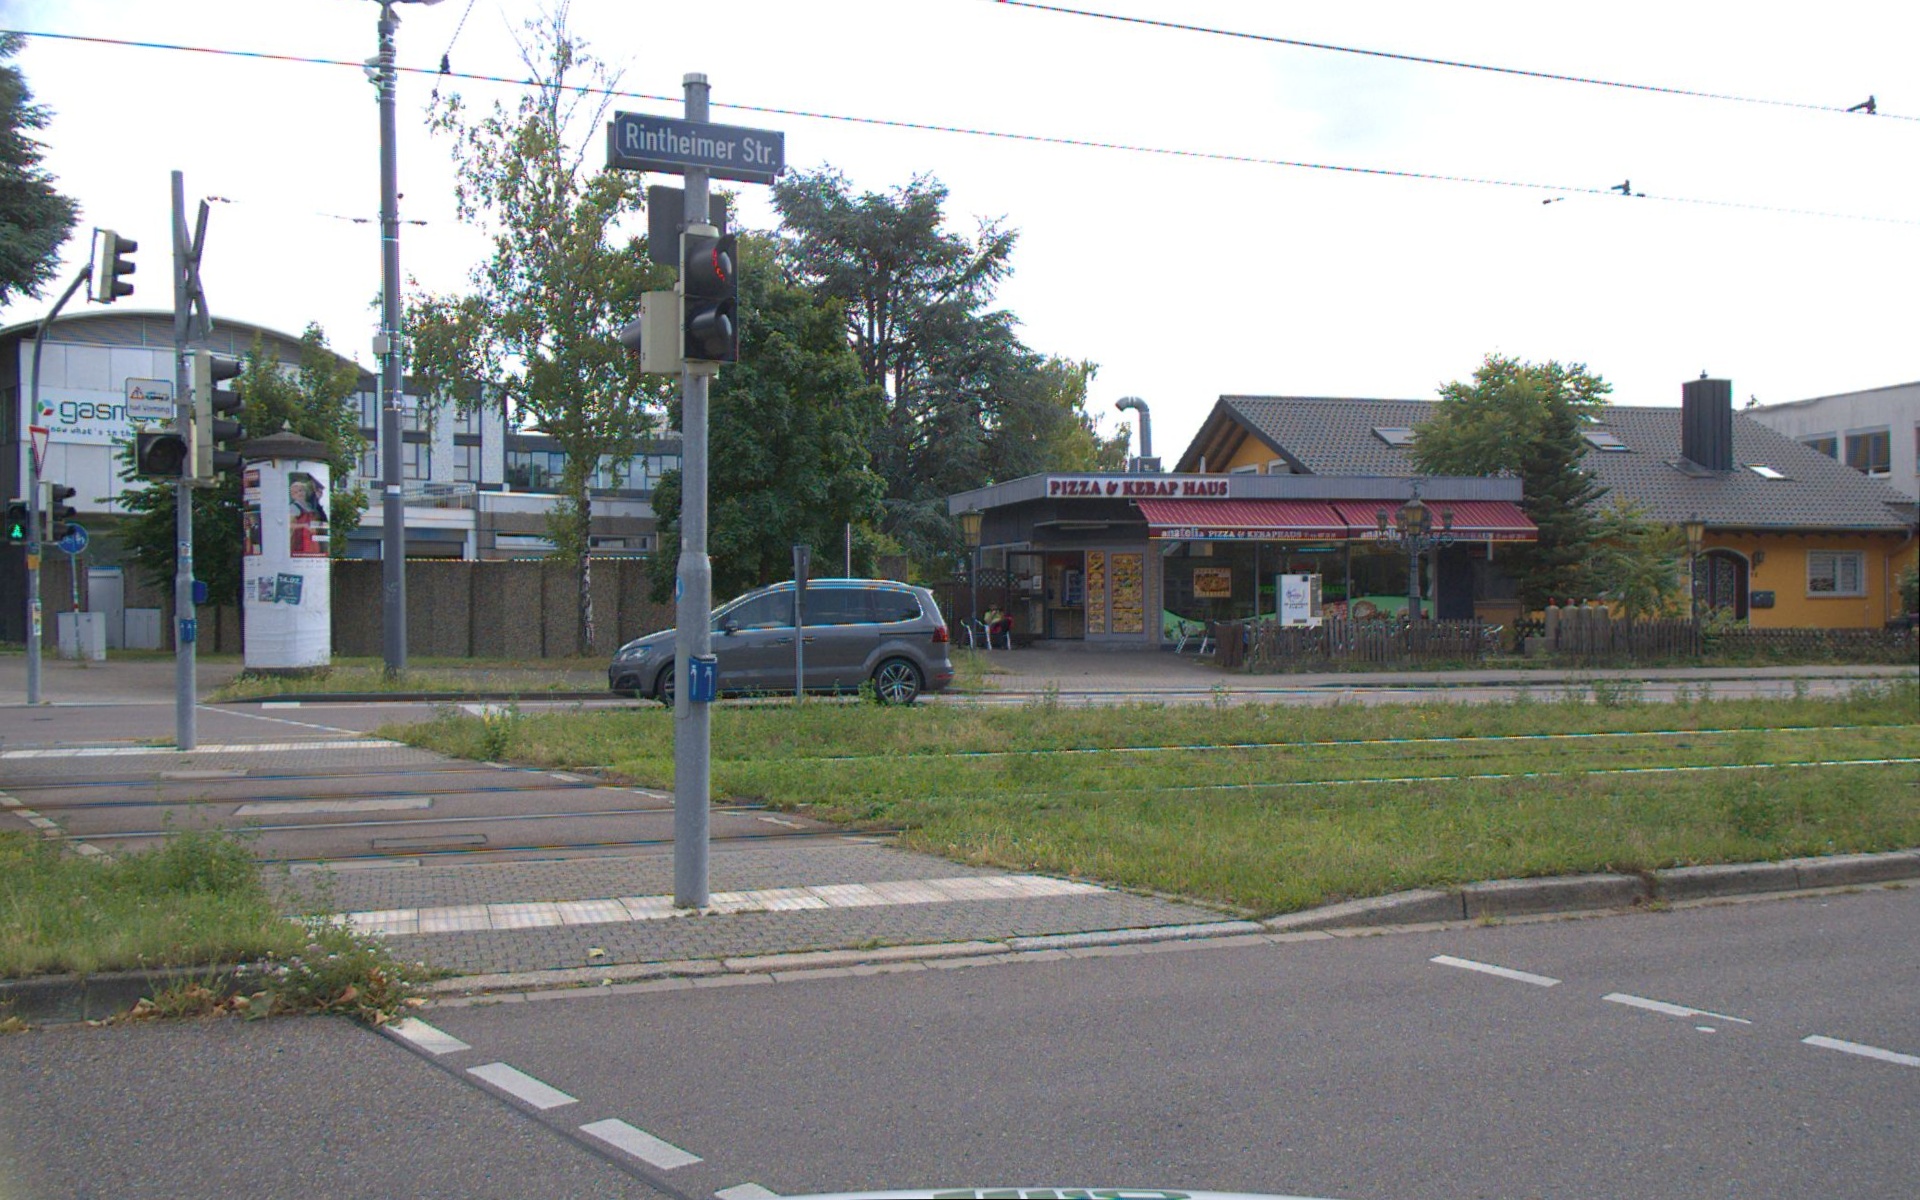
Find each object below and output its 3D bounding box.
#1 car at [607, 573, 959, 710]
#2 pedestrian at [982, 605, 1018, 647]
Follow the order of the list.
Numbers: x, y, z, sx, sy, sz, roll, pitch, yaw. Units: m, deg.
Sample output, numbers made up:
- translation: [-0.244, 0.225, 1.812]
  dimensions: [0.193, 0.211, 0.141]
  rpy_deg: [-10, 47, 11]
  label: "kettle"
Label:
- translation: [-2.489, 0.528, 22.862]
  dimensions: [4.644, 1.752, 1.993]
  rpy_deg: [0, 0, -14]
  label: "car"
- translation: [0.934, 0.618, 38.884]
  dimensions: [0.711, 0.945, 0.775]
  rpy_deg: [1, 2, -9]
  label: "pedestrian"
